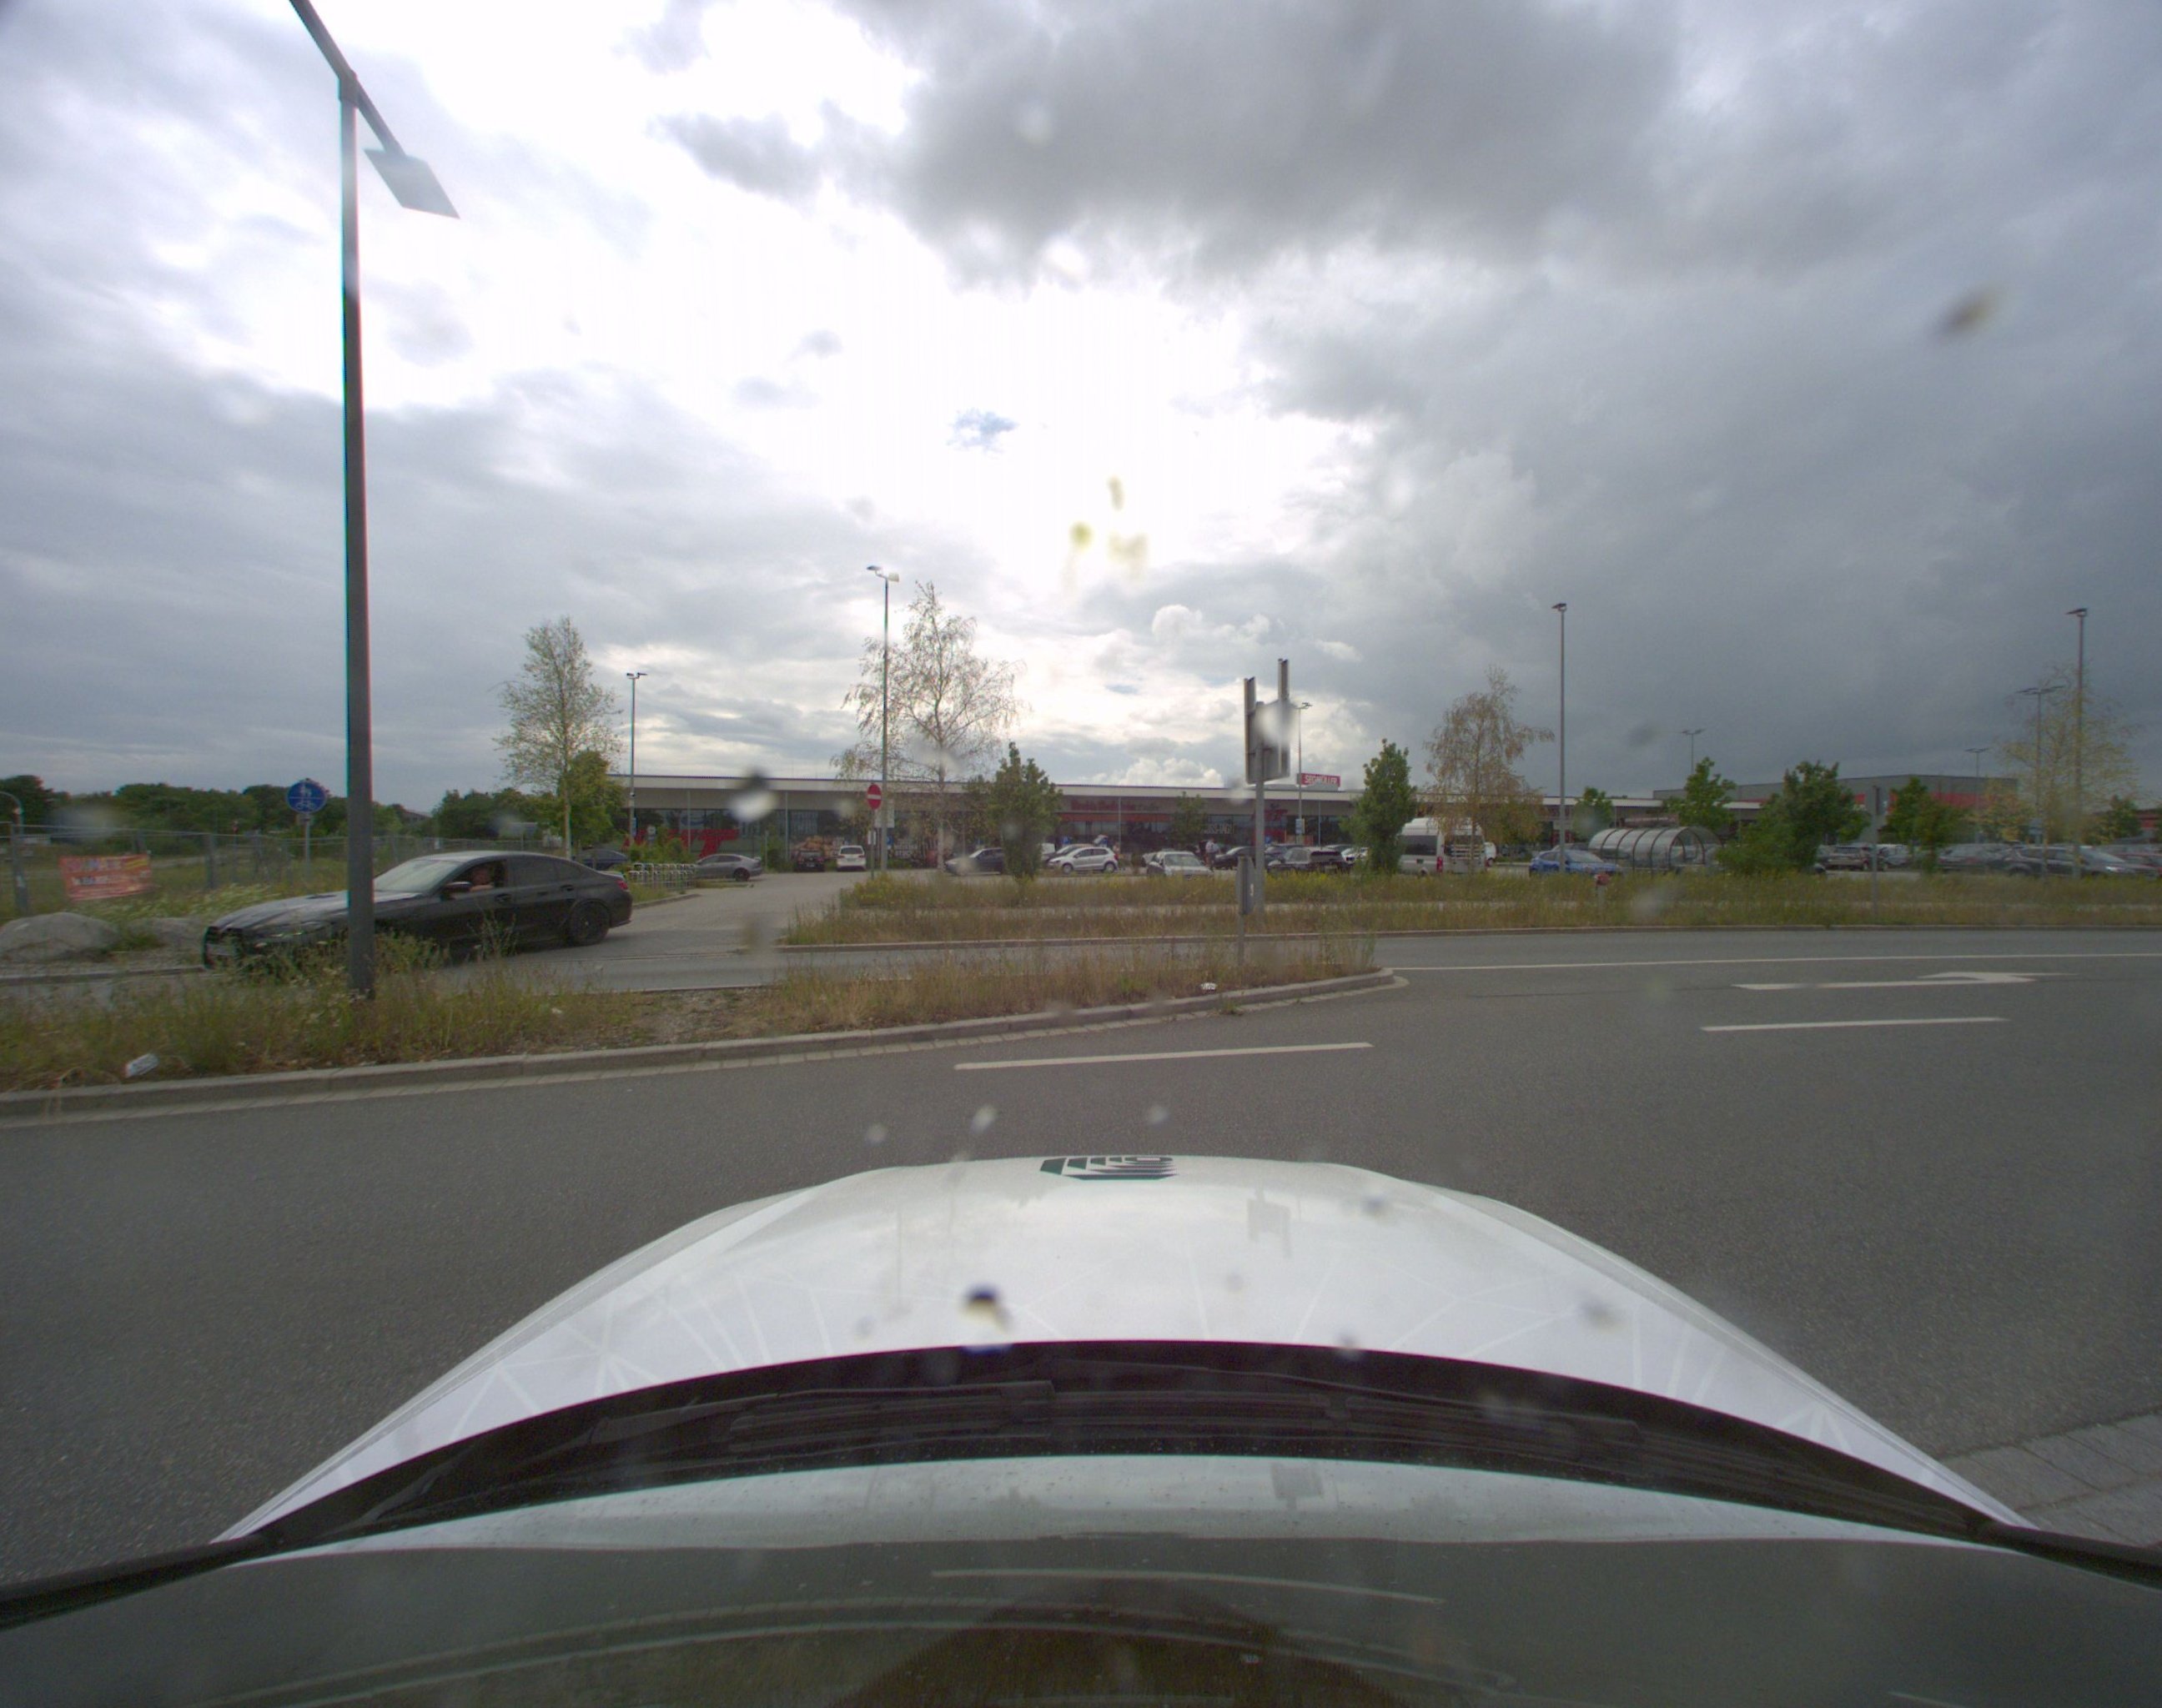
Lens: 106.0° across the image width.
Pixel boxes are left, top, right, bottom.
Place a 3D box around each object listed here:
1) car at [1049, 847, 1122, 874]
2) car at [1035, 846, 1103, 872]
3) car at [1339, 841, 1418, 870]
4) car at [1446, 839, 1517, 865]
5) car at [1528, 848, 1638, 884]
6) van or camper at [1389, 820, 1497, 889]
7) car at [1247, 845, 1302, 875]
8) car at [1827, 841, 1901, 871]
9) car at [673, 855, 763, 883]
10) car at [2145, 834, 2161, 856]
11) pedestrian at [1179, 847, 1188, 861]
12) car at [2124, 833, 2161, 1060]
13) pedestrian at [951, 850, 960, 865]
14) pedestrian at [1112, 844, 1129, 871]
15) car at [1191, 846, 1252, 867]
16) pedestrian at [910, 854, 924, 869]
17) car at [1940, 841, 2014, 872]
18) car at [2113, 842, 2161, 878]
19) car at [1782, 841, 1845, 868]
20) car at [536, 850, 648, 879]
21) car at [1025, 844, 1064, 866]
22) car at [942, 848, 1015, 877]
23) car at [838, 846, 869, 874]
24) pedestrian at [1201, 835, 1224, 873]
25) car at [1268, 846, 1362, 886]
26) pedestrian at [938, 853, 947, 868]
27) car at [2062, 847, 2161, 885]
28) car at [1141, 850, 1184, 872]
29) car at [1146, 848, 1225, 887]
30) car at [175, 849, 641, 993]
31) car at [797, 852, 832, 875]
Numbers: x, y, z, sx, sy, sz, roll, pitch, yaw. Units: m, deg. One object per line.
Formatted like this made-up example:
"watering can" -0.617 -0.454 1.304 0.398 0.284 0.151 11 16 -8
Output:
"car" 0.218 0.349 45.328 3.755 1.454 1.658 0 1 -17
"car" -0.720 0.288 48.131 3.755 1.454 1.658 0 1 -17
"car" 17.683 0.080 48.520 3.985 1.618 1.995 -1 0 -8
"car" 28.535 -0.149 58.052 4.427 1.819 1.987 0 0 -19
"car" 20.372 0.474 33.265 1.800 1.384 4.145 0 0 -3
"van or camper" 13.842 0.021 31.430 2.278 2.492 3.996 0 0 -3
"car" 11.186 0.304 47.256 1.813 1.653 3.989 -1 1 -8
"car" 48.505 0.106 50.444 4.006 1.733 1.984 -1 1 -25
"car" -18.417 0.737 41.524 3.999 1.352 1.987 0 0 -19
"car" 84.070 -0.723 62.620 3.837 1.653 1.751 -1 1 -21
"pedestrian" 8.690 -0.020 68.949 0.561 1.201 0.525 -1 0 -16
"car" 9.715 0.639 5.241 4.386 1.563 1.816 -1 2 -9
"pedestrian" -9.855 0.279 64.032 0.578 1.124 0.558 -1 0 -20
"pedestrian" 2.347 0.206 48.624 0.822 1.632 0.896 0 0 -11
"car" 10.368 0.146 60.131 3.994 1.508 1.990 0 1 -16
"pedestrian" -12.967 0.549 64.482 0.973 1.154 1.126 0 1 -18
"car" 49.936 0.119 45.365 3.843 1.653 1.749 -1 1 -25
"car" 43.646 0.246 31.770 1.904 1.390 3.809 -1 1 -4
"car" 47.500 0.002 52.803 3.843 1.653 1.749 -1 1 -25
"car" -26.937 0.573 45.063 5.026 1.557 1.986 0 0 -21
"car" -2.637 0.051 58.318 1.996 1.508 3.981 -1 1 -14
"car" -5.464 0.426 43.266 3.616 1.454 1.658 0 1 -18
"car" -15.043 0.383 53.989 1.826 1.700 4.214 0 1 -14
"pedestrian" 7.104 0.014 43.924 1.000 2.013 0.865 0 0 -9
"car" 8.995 0.449 31.697 1.988 1.451 4.138 0 0 -8
"pedestrian" -10.998 0.521 64.621 0.578 1.124 0.558 -1 0 -20
"car" 41.337 0.437 31.594 1.904 1.390 3.809 -1 1 -4
"car" 6.054 0.485 61.053 1.996 1.508 3.981 0 1 -14
"car" 3.903 0.486 31.097 1.988 1.384 4.138 0 0 -8
"car" -8.633 0.696 11.121 1.765 1.445 4.632 0 2 18
"car" -17.405 0.602 53.333 1.909 1.444 3.981 -1 1 -14
